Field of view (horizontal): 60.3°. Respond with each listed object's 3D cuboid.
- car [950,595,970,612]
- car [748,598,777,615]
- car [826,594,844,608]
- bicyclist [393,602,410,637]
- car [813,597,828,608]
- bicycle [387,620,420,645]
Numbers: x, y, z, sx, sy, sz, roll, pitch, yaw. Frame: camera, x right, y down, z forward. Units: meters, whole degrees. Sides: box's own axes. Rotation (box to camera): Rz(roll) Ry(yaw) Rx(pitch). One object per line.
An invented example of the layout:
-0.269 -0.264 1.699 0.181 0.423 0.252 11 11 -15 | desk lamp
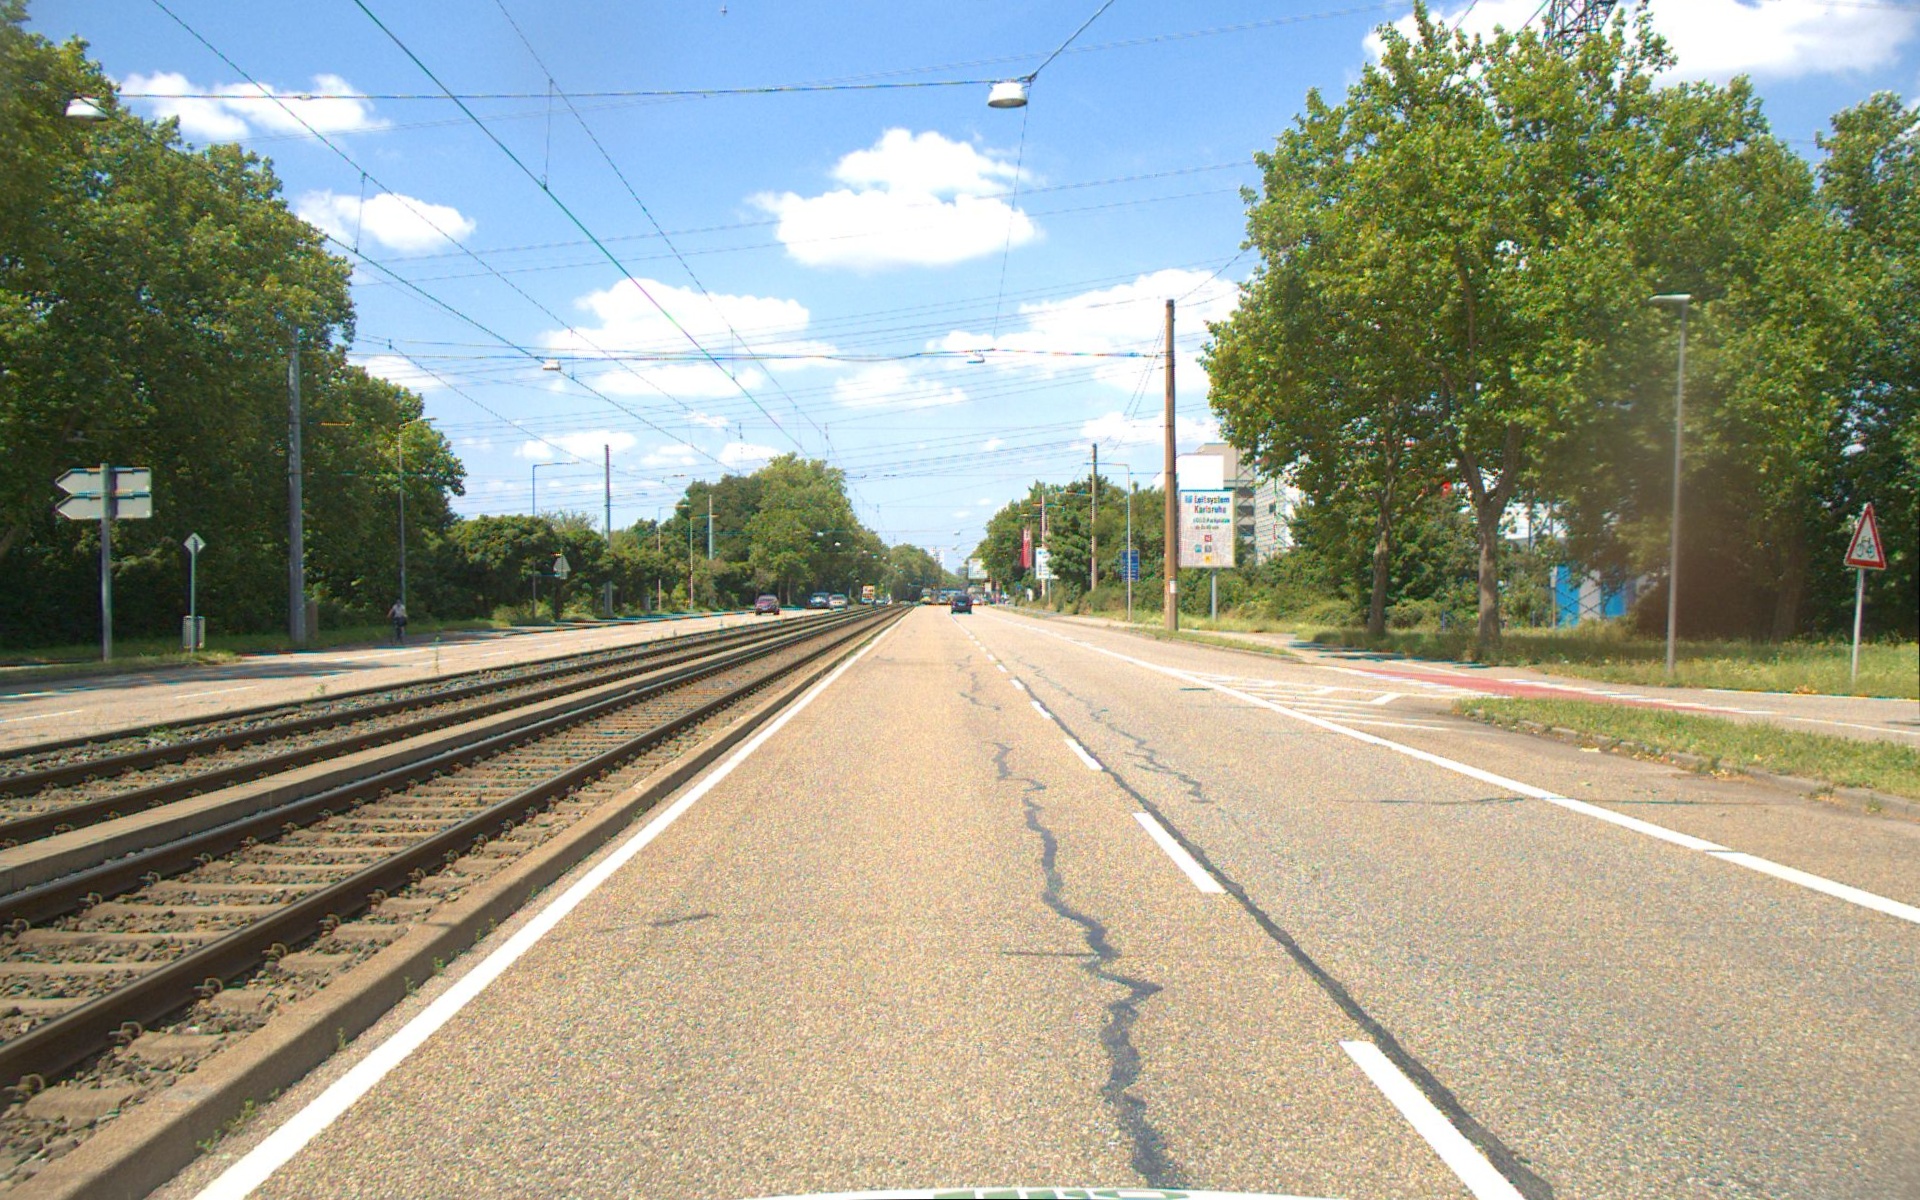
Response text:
-0.040 0.296 140.640 1.554 1.366 3.271 -1 1 -2 | car
-16.182 0.510 135.684 1.837 1.355 3.917 -2 0 -1 | car
-13.577 0.135 179.755 1.681 1.453 3.900 0 0 -1 | car
-20.635 0.710 61.108 0.444 1.295 0.398 0 0 1 | bicyclist
-16.899 0.271 200.806 1.569 1.295 3.835 0 0 -1 | car
-20.567 1.207 61.127 0.505 0.872 1.932 0 0 2 | bicycle
